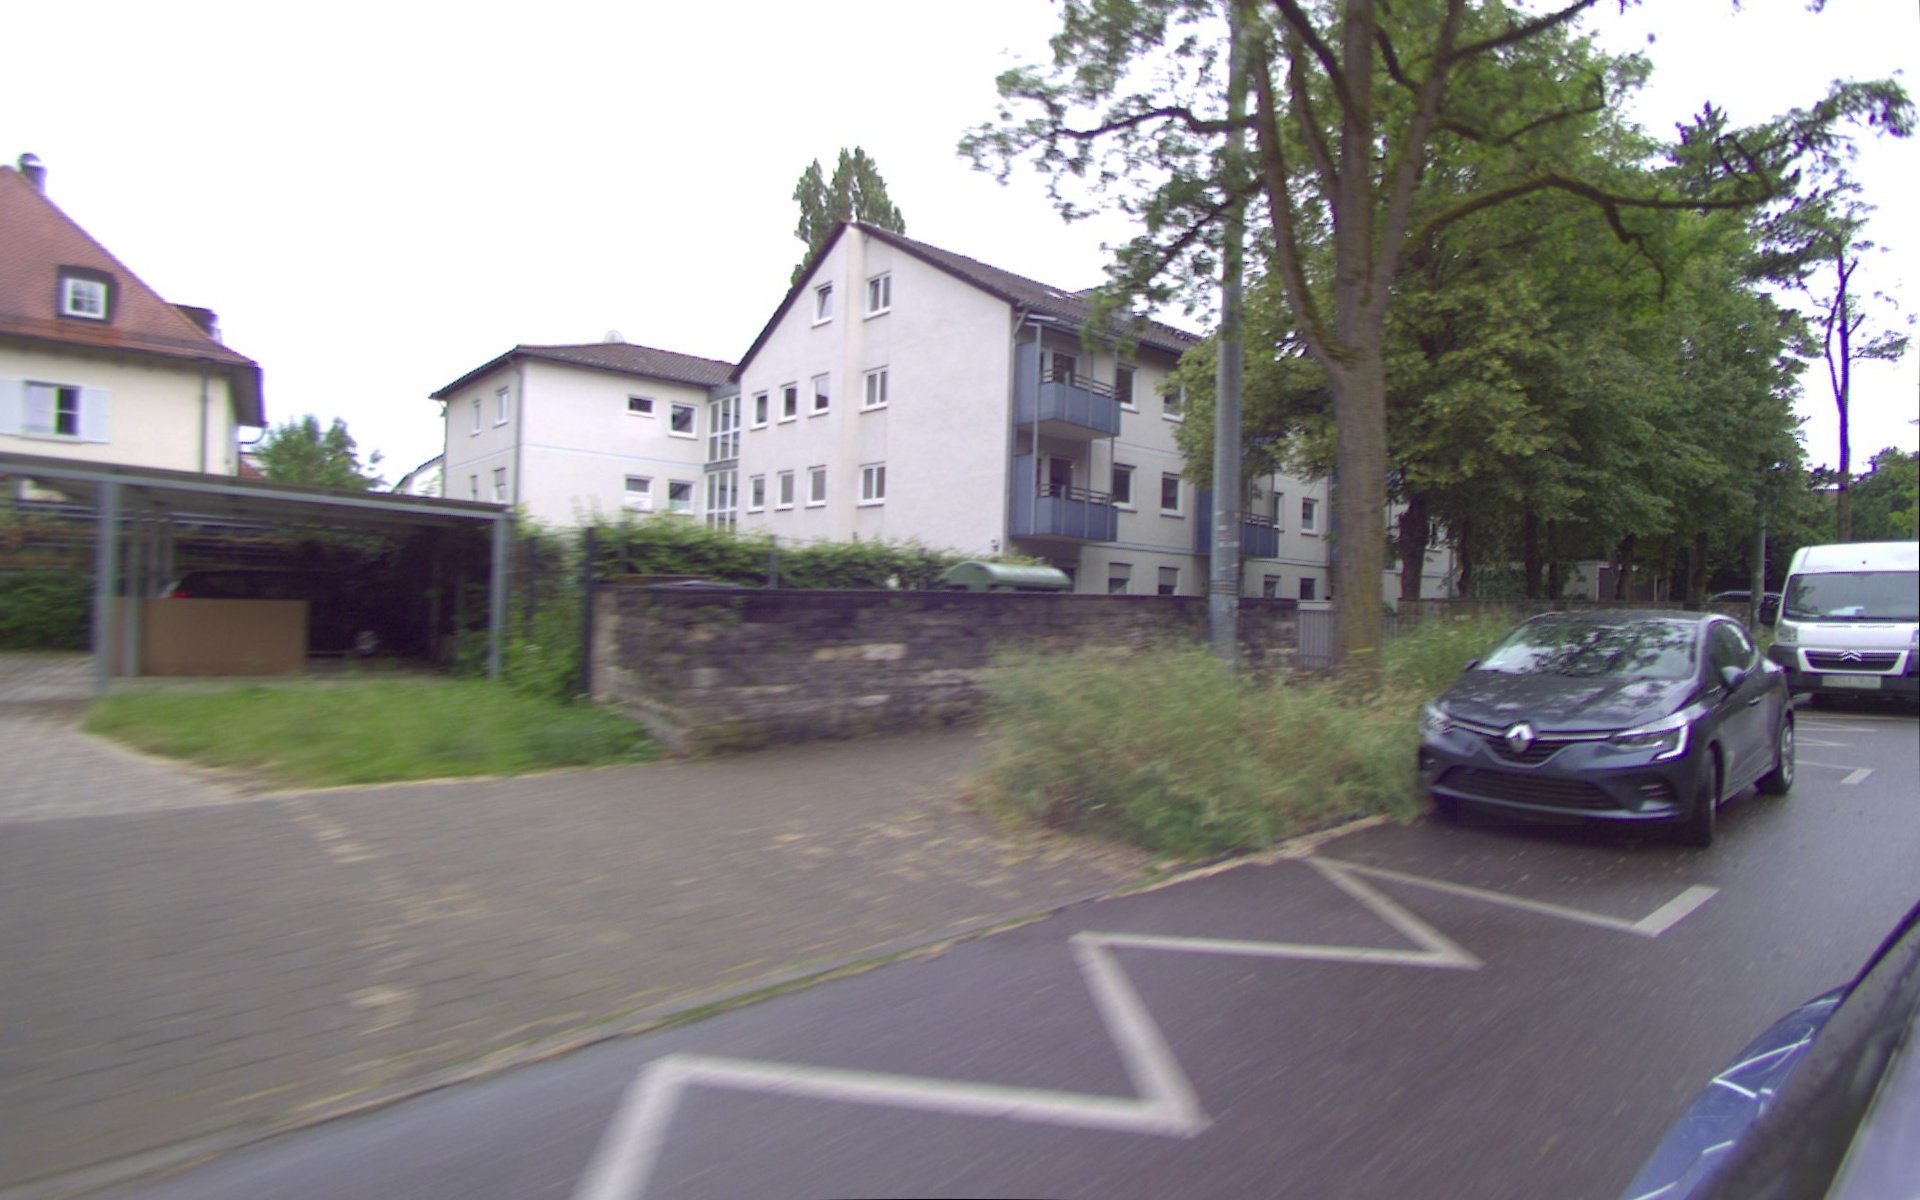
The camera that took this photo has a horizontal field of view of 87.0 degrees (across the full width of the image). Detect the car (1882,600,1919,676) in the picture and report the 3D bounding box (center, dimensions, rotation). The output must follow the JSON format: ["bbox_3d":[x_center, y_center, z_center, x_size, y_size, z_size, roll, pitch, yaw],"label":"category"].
[{"bbox_3d":[20.277,0.755,20.584,3.737,1.483,1.630,1,-1,-38],"label":"car"}]

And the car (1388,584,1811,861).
[{"bbox_3d":[4.874,0.696,7.490,3.897,1.498,1.742,1,-1,-43],"label":"car"}]

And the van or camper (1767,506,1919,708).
[{"bbox_3d":[14.319,0.131,15.566,5.252,2.685,2.081,1,-1,-41],"label":"van or camper"}]

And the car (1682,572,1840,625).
[{"bbox_3d":[30.209,-0.108,38.282,1.965,1.702,4.320,0,4,-40],"label":"car"}]

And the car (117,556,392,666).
[{"bbox_3d":[-12.019,0.201,17.446,3.696,1.710,1.737,1,-1,-36],"label":"car"}]
